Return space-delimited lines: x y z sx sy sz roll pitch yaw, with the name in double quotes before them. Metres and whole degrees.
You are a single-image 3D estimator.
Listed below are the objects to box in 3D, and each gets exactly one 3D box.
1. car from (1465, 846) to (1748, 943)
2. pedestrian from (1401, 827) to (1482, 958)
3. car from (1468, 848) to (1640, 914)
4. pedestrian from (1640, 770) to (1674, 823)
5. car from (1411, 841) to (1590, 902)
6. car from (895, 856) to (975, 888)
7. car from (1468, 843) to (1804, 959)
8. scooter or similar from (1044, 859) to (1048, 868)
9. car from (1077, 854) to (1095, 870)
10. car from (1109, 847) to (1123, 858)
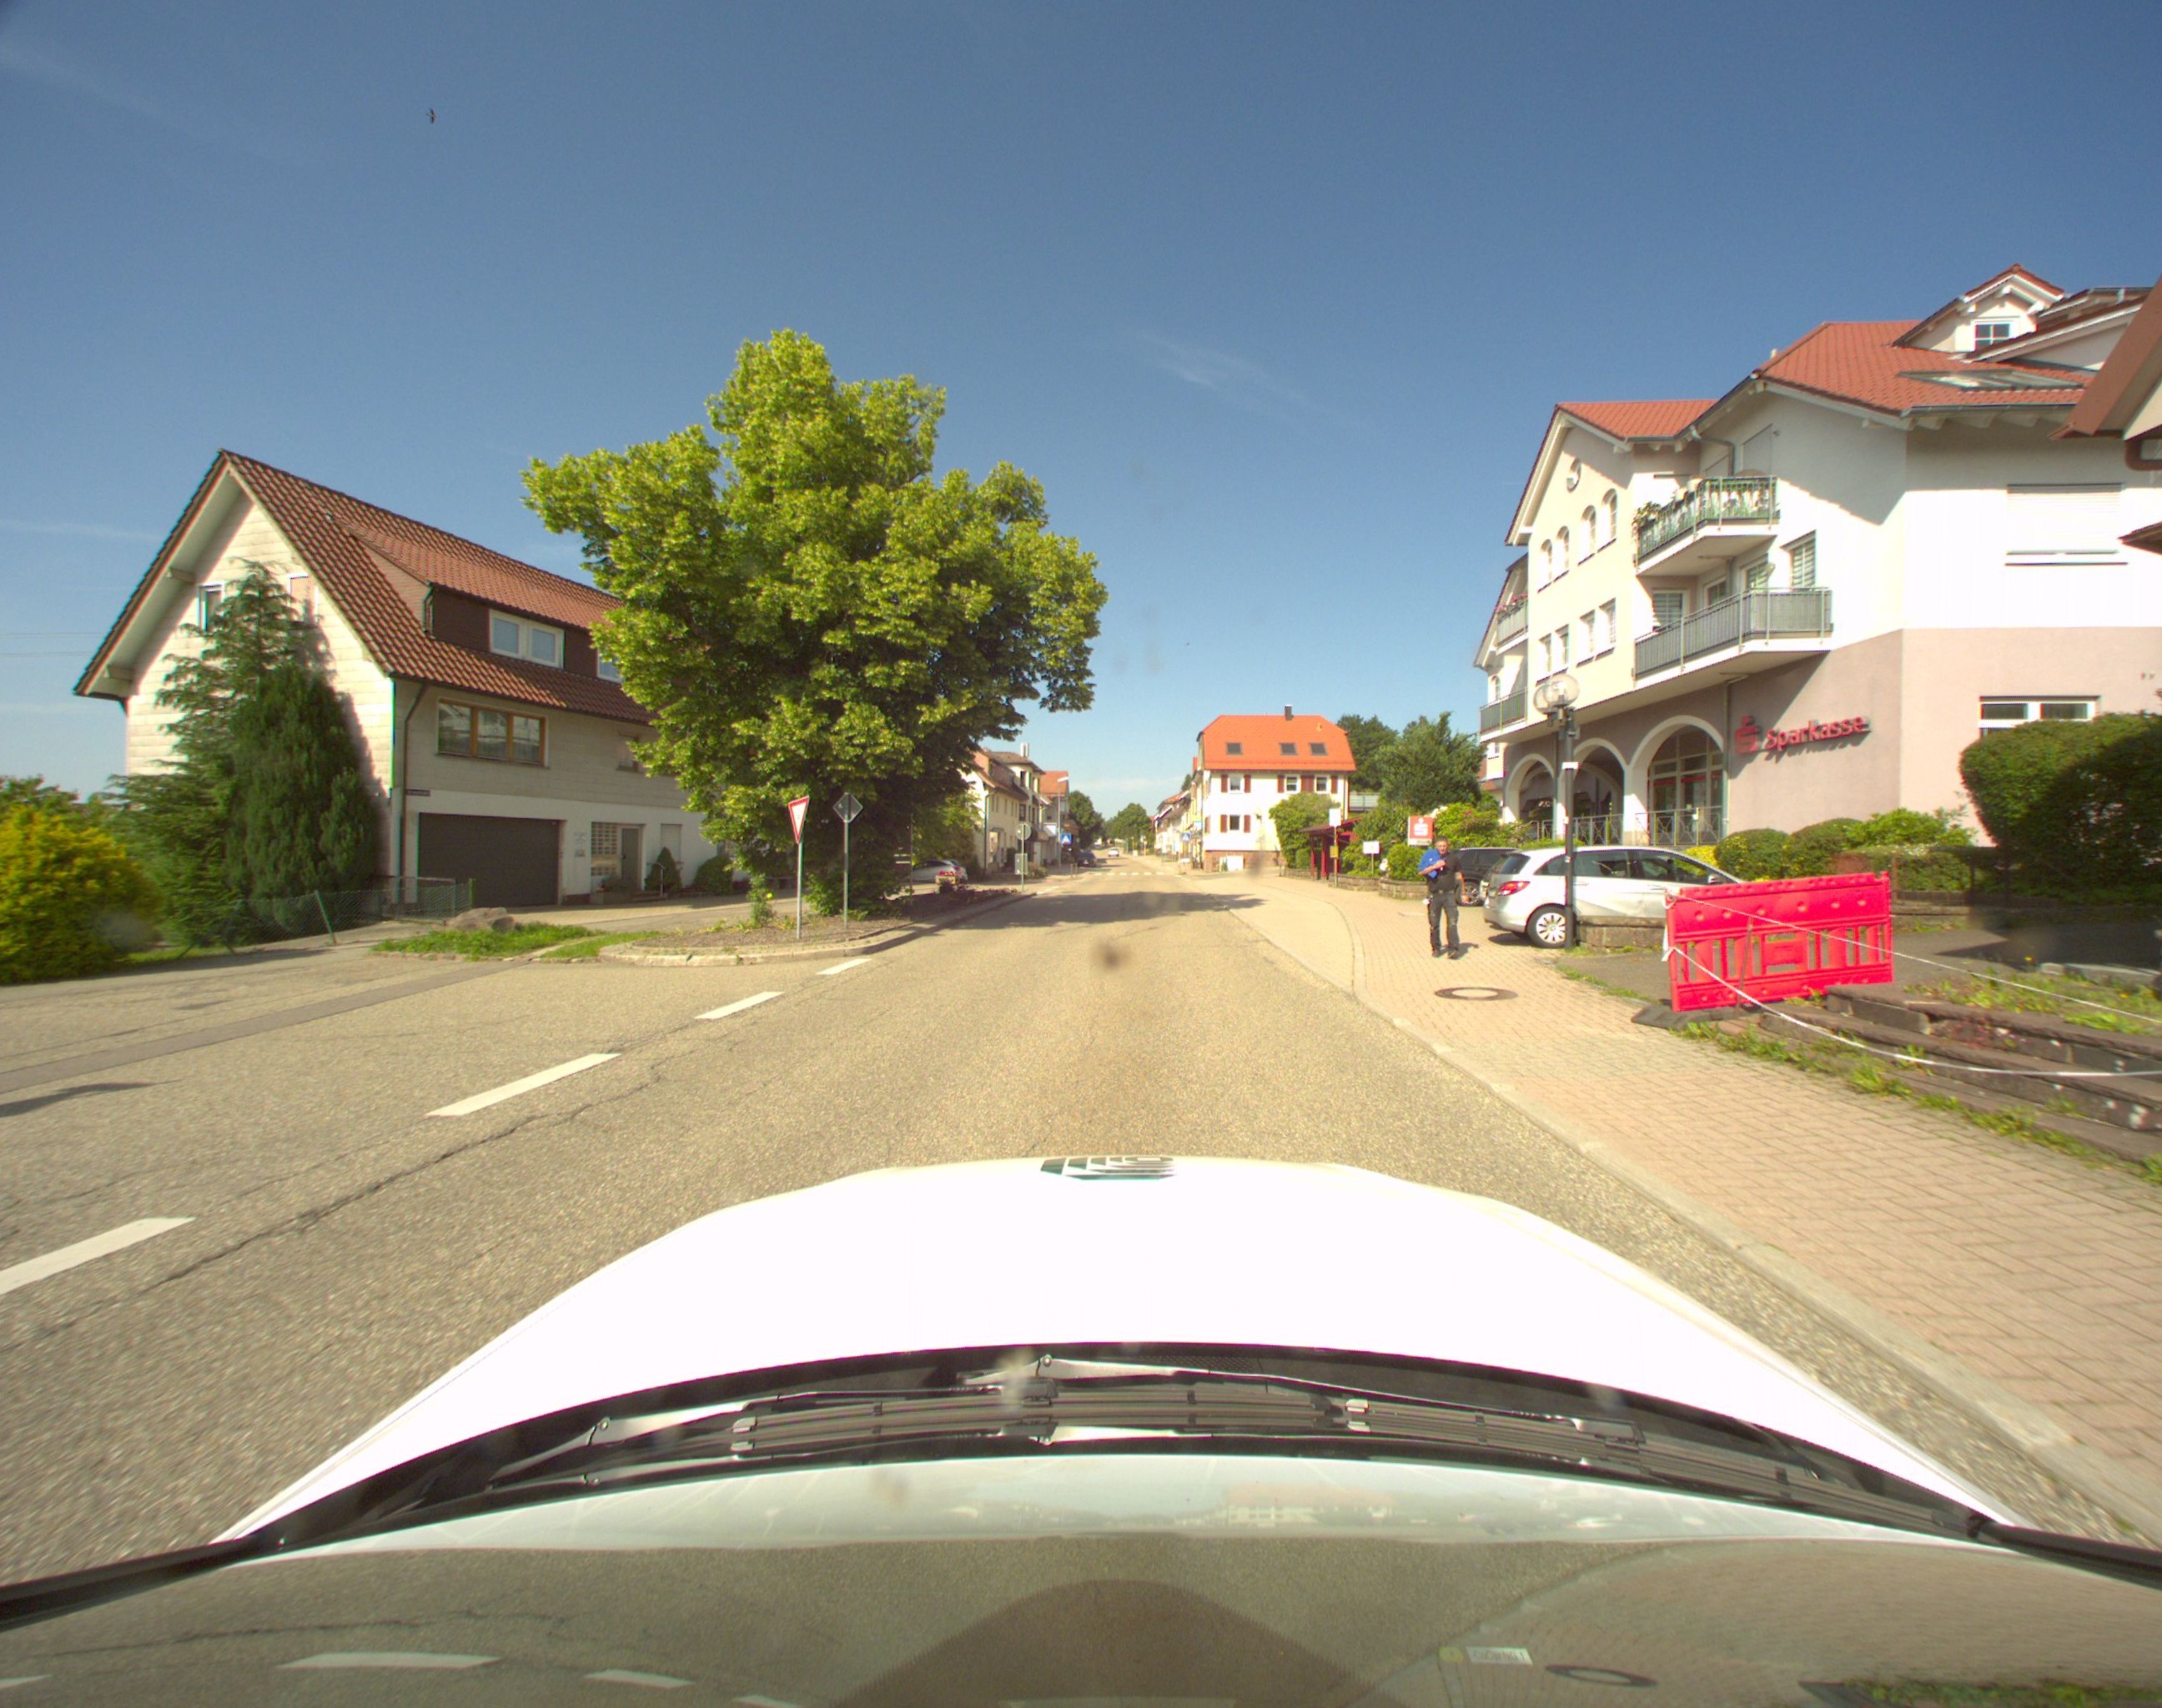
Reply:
"car" 9.270 0.659 14.737 3.958 1.549 1.745 1 1 14
"pedestrian" 5.123 0.530 11.636 0.794 1.784 0.982 -1 0 9
"car" 11.266 0.635 19.591 3.212 1.469 1.634 -2 0 11
"pedestrian" 19.436 -1.925 27.501 0.609 1.722 0.758 -2 1 7
"car" 11.435 0.472 22.422 3.966 1.548 1.884 -1 0 6
"car" -7.719 0.979 43.196 3.730 1.455 1.825 -3 -5 16
"car" 8.150 0.631 12.413 3.832 1.558 1.972 0 0 17
"scooter or similar" -3.597 1.004 83.144 0.350 0.890 0.394 -2 0 -2
"car" 0.569 0.819 88.425 1.665 1.533 3.539 4 1 4
"car" 6.882 -0.311 161.250 2.488 2.013 4.303 -3 0 -1
